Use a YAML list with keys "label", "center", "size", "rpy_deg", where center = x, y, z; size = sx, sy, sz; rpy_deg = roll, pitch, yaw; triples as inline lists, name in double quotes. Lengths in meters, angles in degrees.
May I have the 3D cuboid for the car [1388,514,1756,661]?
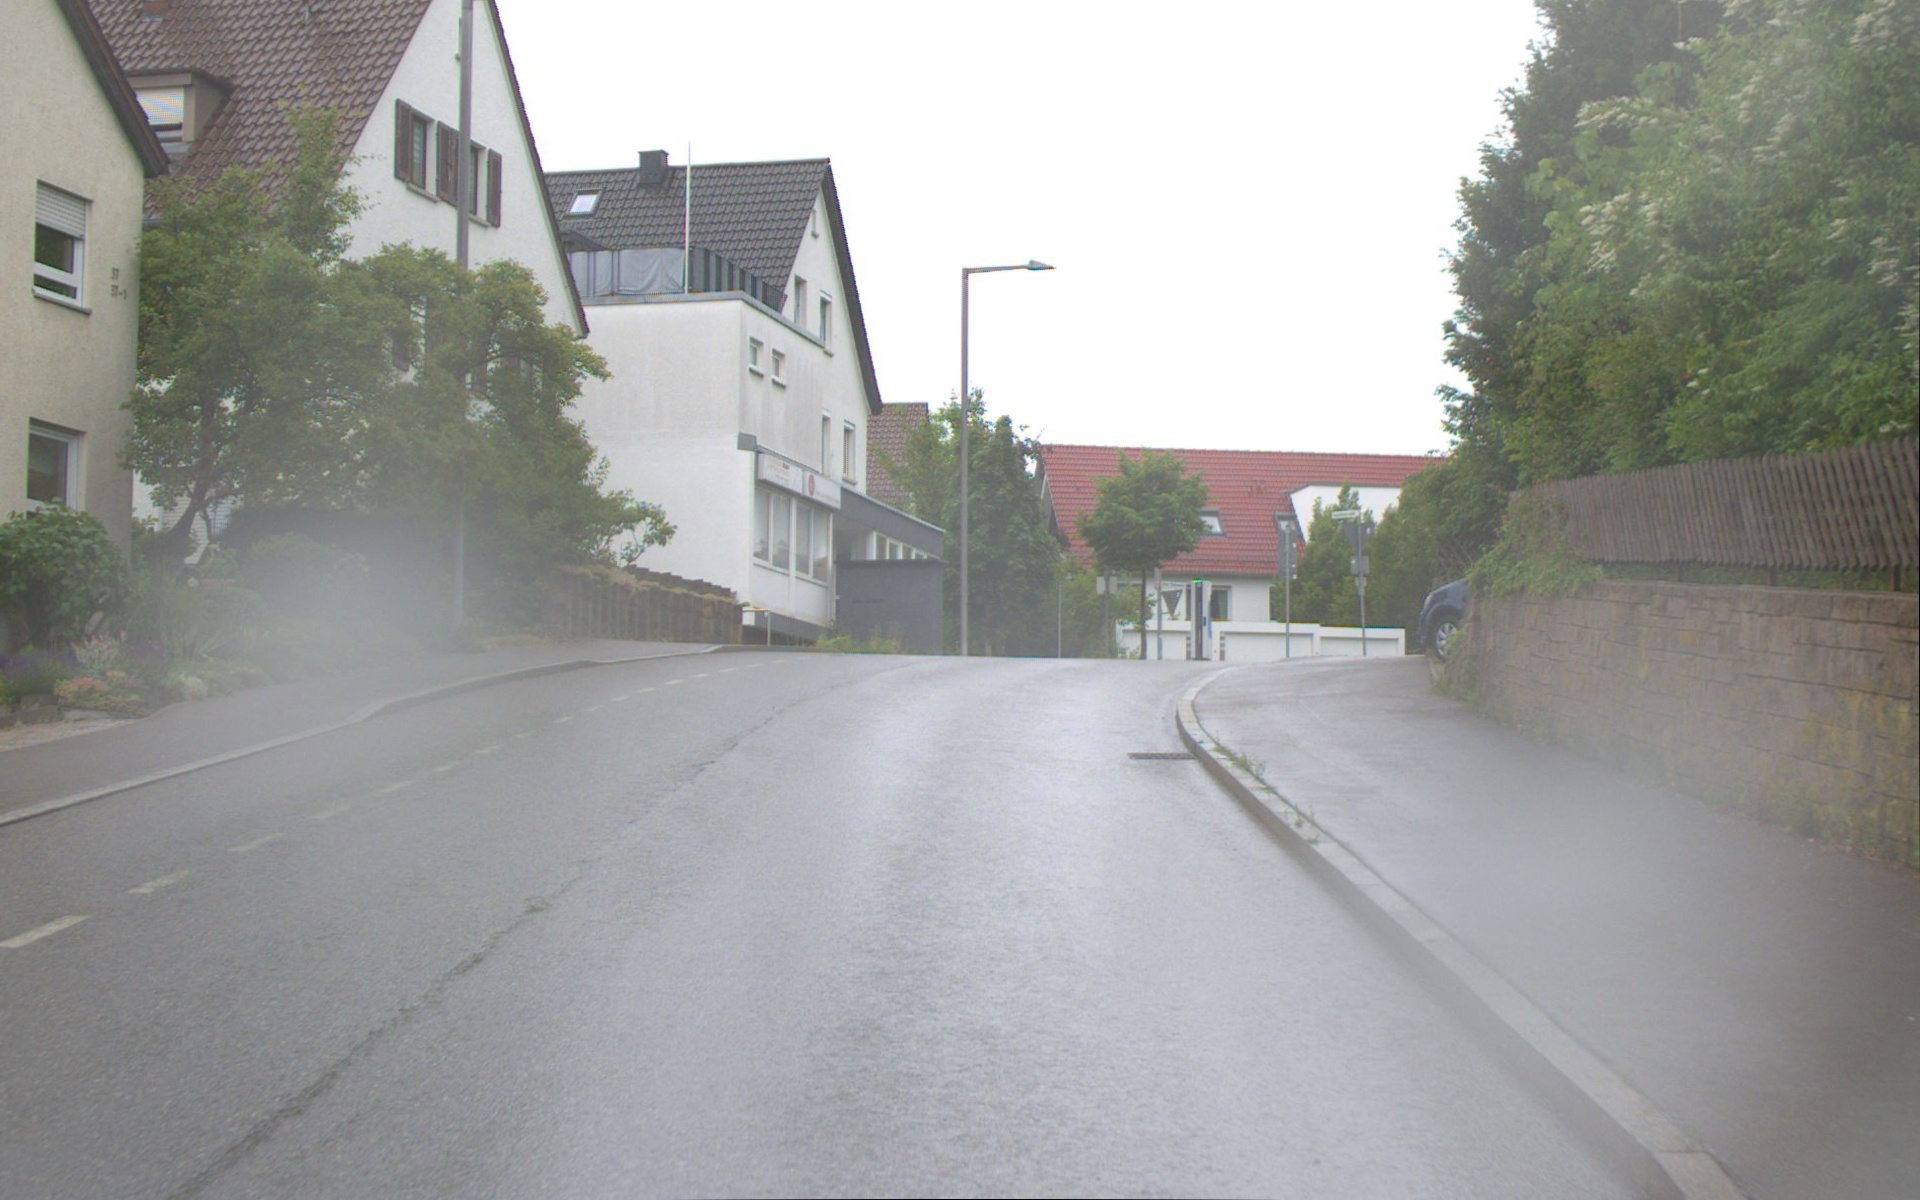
- label: "car"
  center: [7.673, -0.133, 43.438]
  size: [1.851, 1.601, 4.338]
  rpy_deg: [-6, 2, -38]
